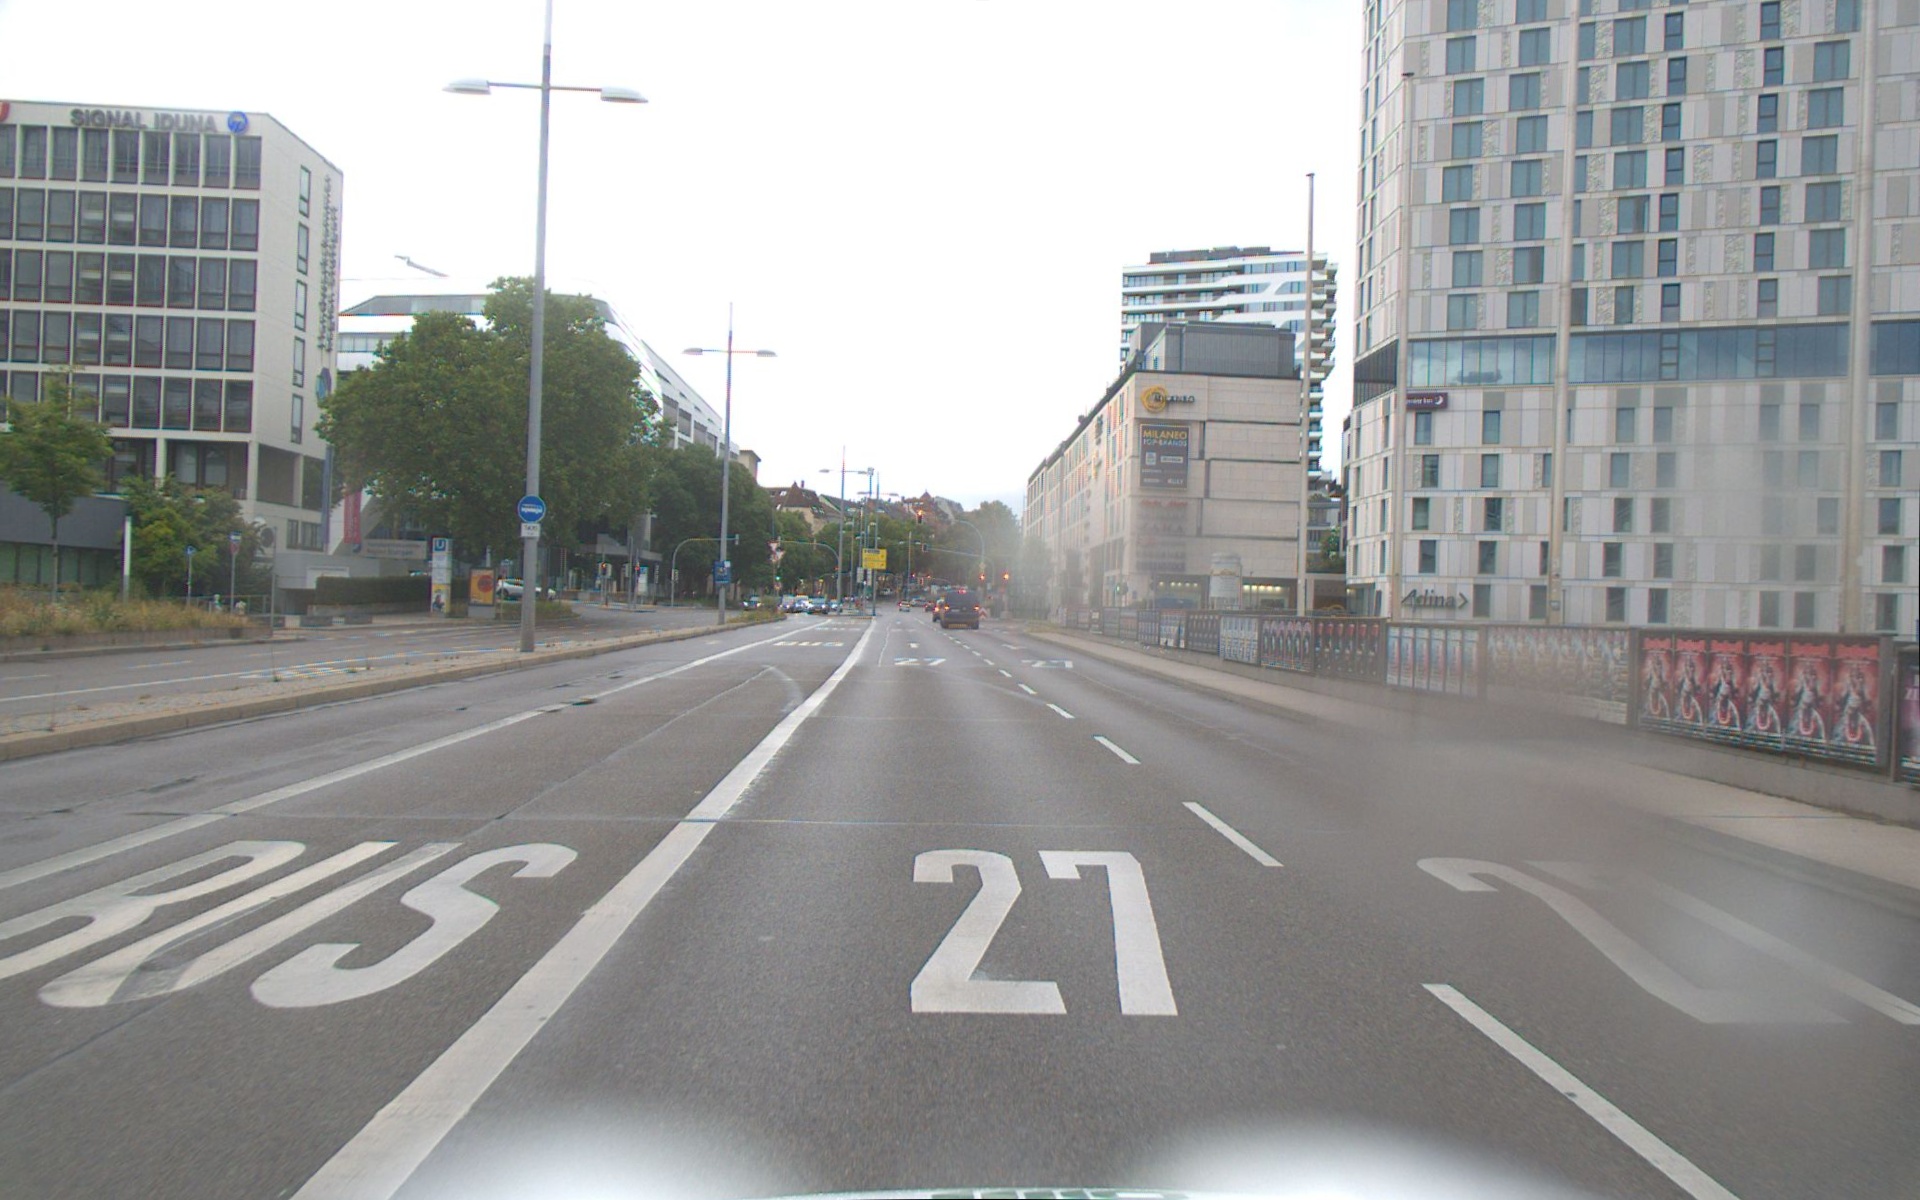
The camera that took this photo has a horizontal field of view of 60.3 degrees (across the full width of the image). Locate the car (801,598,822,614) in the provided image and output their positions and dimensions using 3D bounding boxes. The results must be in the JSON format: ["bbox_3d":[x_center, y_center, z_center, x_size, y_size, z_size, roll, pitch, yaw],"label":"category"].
[{"bbox_3d":[-14.174,0.591,158.014,1.708,1.470,3.393,1,-1,-2],"label":"car"}]

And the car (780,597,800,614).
[{"bbox_3d":[-17.074,0.550,166.002,1.708,1.586,3.538,1,-1,-2],"label":"car"}]

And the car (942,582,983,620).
[{"bbox_3d":[0.121,0.055,88.064,1.992,1.915,5.040,-1,0,-2],"label":"car"}]

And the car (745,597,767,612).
[{"bbox_3d":[-19.496,0.461,158.385,1.708,1.352,4.223,1,-1,-2],"label":"car"}]

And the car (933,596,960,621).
[{"bbox_3d":[-0.952,0.587,112.348,1.705,1.558,3.812,1,-1,-2],"label":"car"}]

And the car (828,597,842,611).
[{"bbox_3d":[-15.108,0.483,199.677,1.507,1.503,3.694,1,-1,-2],"label":"car"}]

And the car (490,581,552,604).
[{"bbox_3d":[-34.726,-0.594,130.861,4.406,1.660,1.896,1,-1,14],"label":"car"}]

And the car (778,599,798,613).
[{"bbox_3d":[-16.534,0.543,159.043,1.708,1.279,3.538,2,0,-2],"label":"car"}]
